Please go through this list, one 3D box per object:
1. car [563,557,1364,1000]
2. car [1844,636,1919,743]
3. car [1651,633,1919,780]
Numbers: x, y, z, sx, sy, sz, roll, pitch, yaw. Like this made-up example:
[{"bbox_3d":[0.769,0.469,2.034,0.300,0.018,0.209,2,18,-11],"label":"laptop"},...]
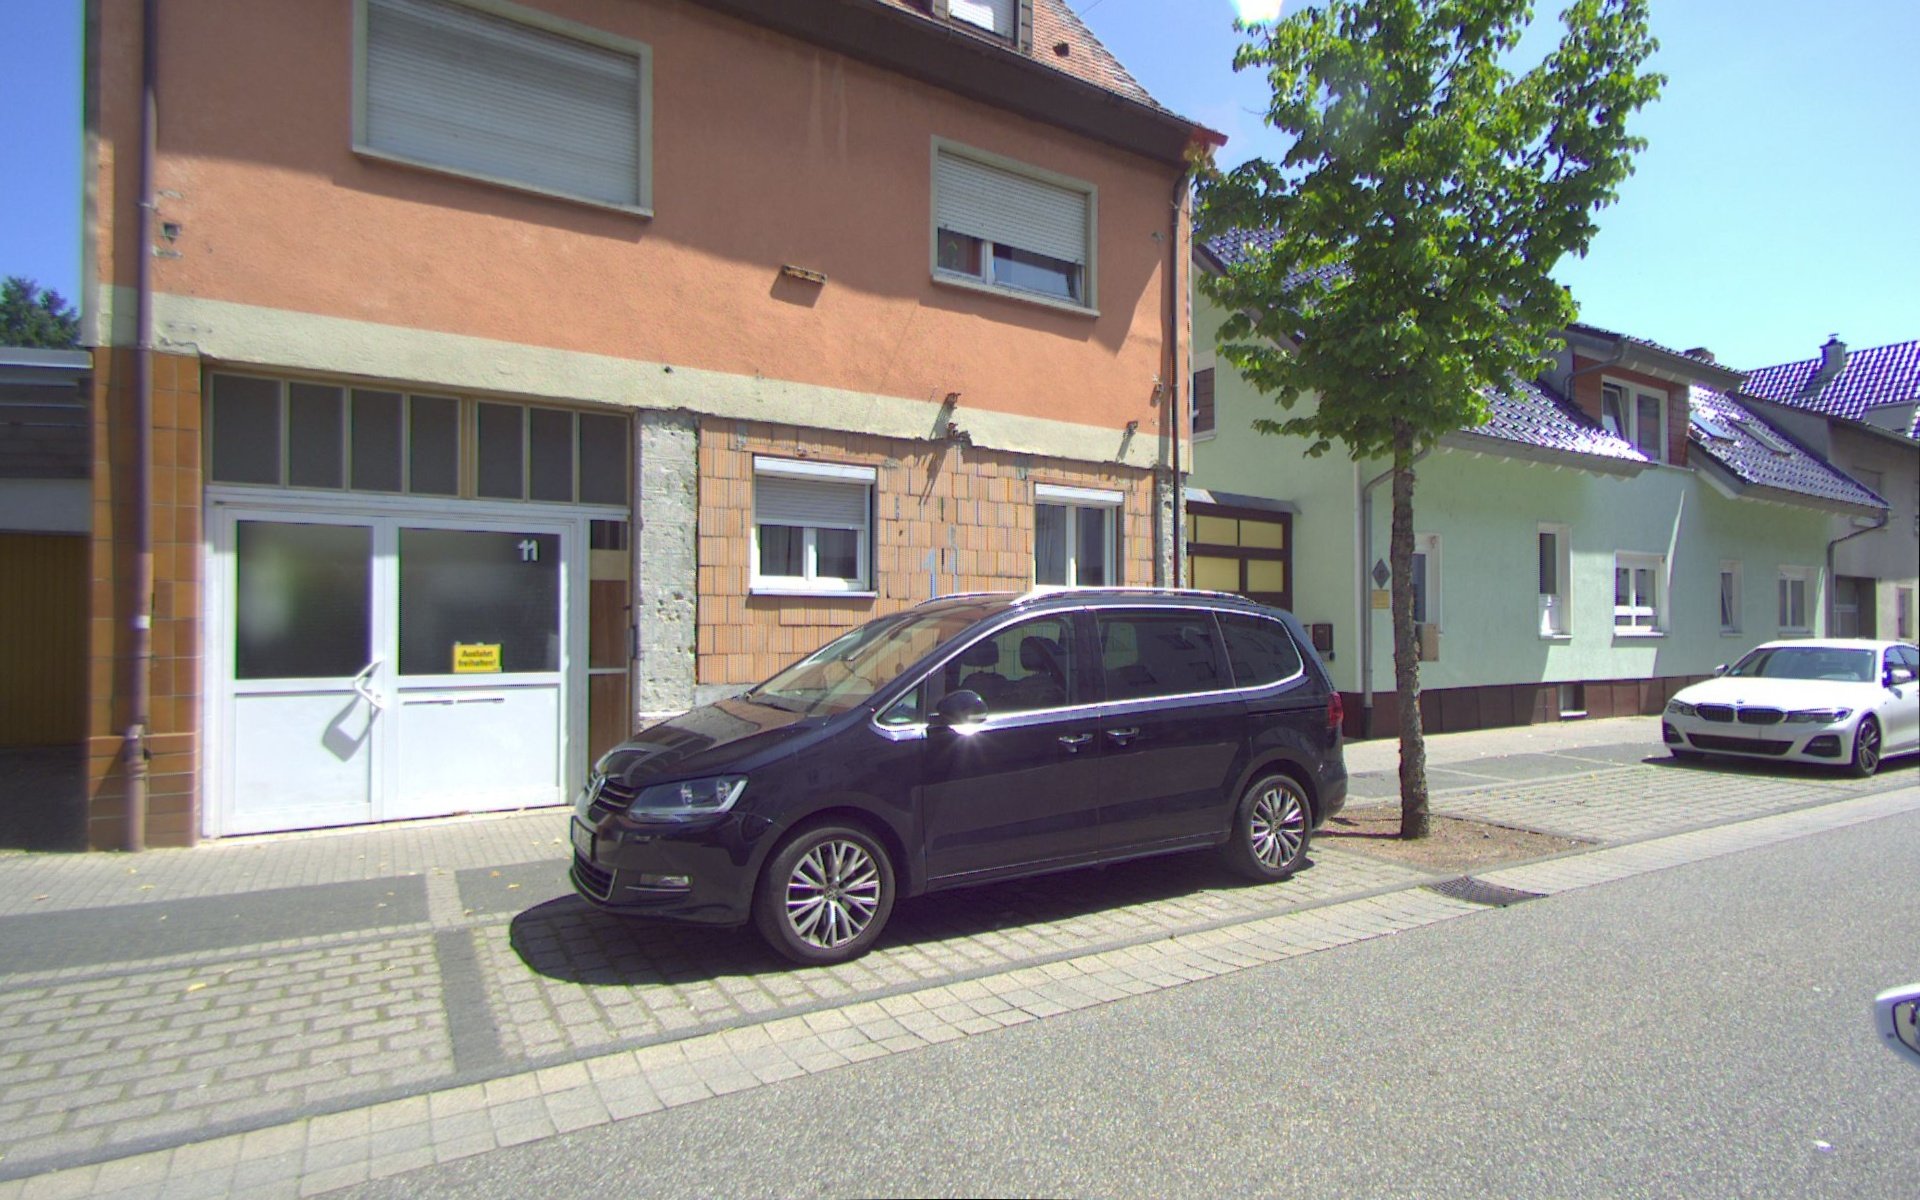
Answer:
[{"bbox_3d":[0.191,0.762,5.909,4.469,1.749,1.766,1,-2,-32],"label":"car"},{"bbox_3d":[15.078,1.275,14.894,4.485,1.456,1.653,1,-2,-31],"label":"car"},{"bbox_3d":[10.296,1.142,12.031,4.409,1.456,1.711,1,-1,-32],"label":"car"}]
